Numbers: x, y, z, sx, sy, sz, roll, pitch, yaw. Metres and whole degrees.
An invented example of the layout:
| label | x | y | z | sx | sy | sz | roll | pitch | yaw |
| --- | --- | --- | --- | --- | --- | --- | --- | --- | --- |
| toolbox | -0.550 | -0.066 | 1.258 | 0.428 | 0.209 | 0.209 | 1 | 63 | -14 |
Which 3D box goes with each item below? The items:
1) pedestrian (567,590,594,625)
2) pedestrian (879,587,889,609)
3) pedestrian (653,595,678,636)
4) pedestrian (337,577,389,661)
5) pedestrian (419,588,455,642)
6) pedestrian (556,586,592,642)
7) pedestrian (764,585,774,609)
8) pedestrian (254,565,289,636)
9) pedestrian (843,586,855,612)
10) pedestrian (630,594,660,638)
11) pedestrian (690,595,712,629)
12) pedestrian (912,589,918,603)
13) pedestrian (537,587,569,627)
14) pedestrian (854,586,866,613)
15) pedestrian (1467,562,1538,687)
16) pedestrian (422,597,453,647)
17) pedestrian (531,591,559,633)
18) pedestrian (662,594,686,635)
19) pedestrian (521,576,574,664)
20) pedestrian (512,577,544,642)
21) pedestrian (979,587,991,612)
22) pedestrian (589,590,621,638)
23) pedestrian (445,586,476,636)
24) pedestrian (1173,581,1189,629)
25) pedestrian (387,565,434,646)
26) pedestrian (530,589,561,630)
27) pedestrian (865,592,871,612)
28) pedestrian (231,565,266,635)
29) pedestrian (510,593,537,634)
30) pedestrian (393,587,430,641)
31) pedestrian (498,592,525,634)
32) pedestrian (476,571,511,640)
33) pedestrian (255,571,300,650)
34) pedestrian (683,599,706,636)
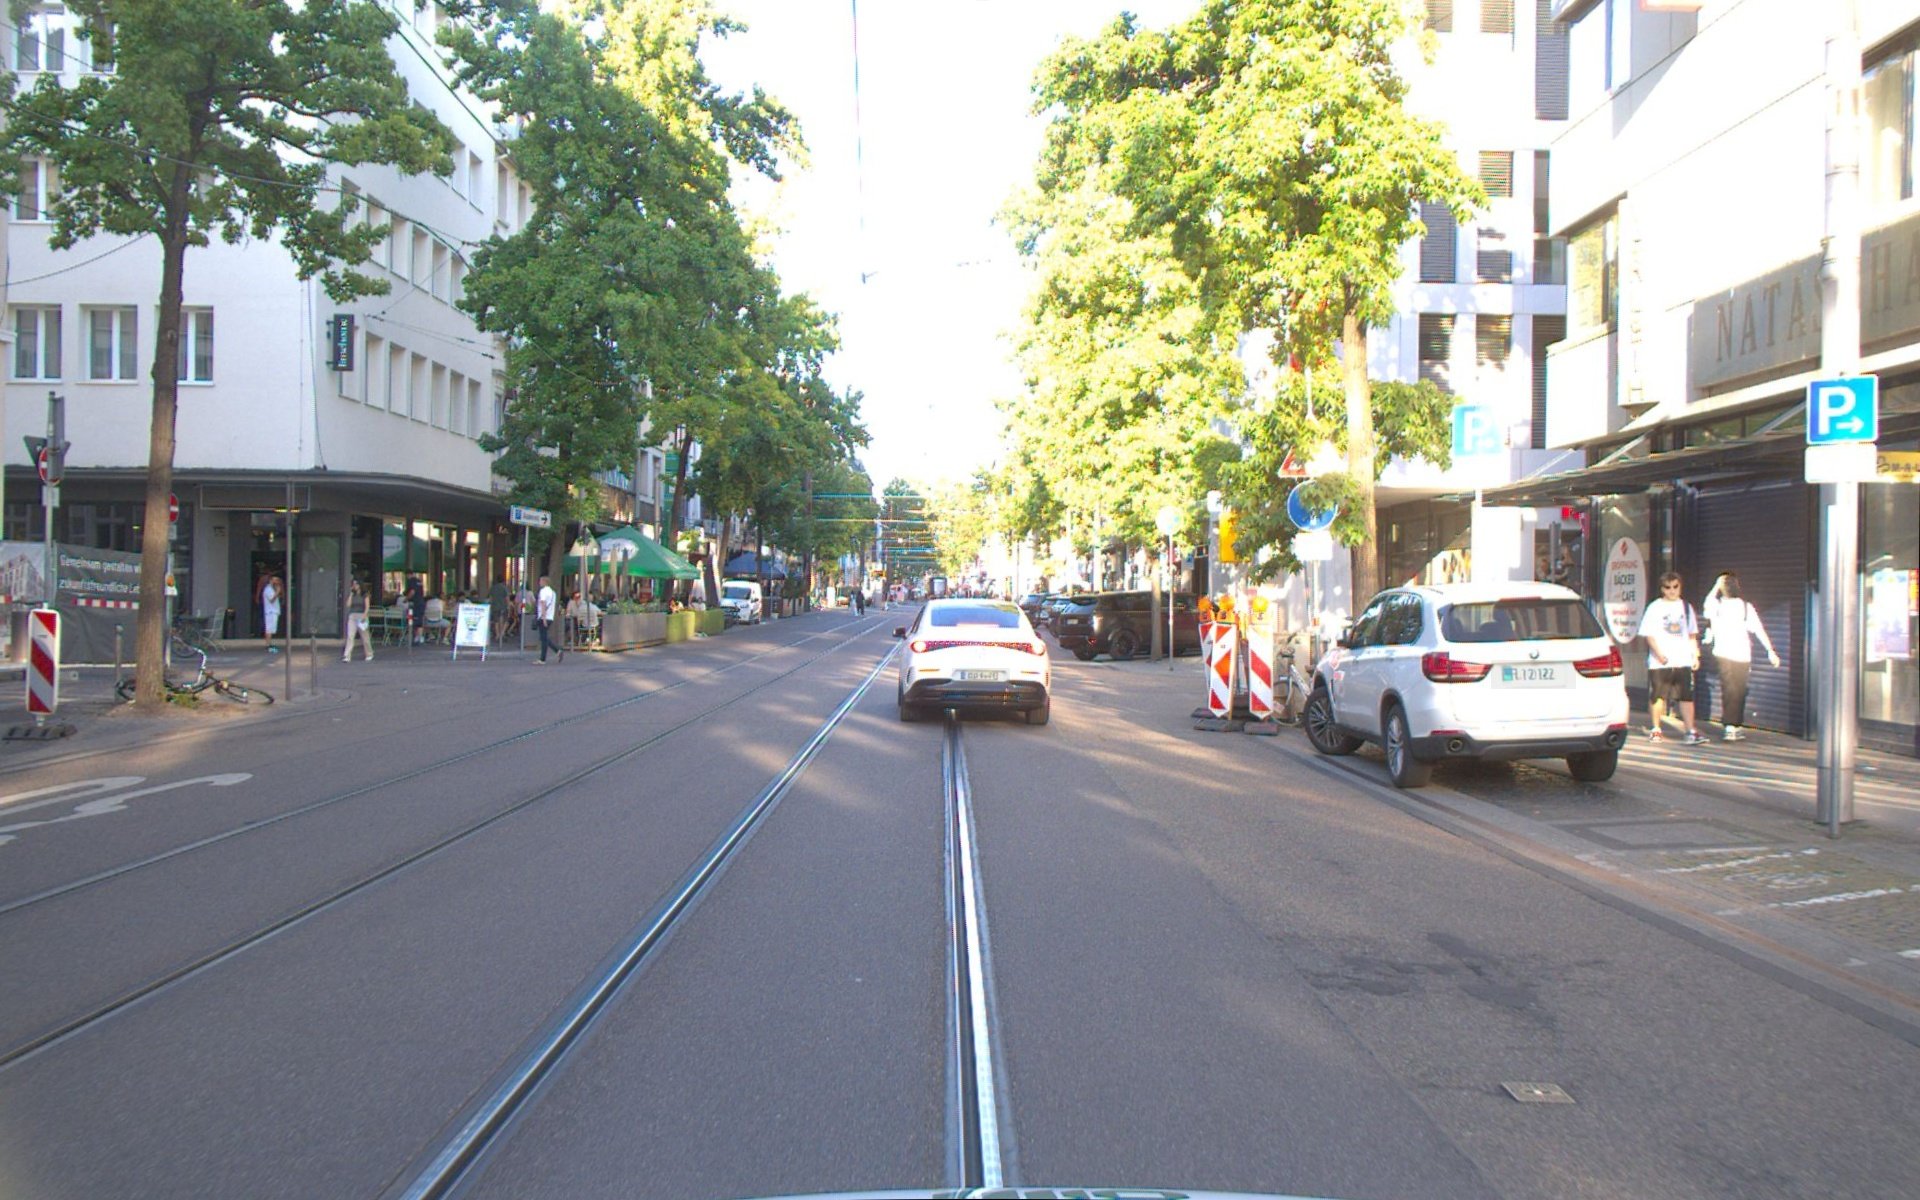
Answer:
| label | x | y | z | sx | sy | sz | roll | pitch | yaw |
| --- | --- | --- | --- | --- | --- | --- | --- | --- | --- |
| pedestrian | -13.356 | 0.247 | 58.208 | 0.686 | 1.188 | 0.788 | 3 | 0 | -1 |
| pedestrian | -6.250 | -0.141 | 136.528 | 0.771 | 1.832 | 0.844 | 1 | 0 | 0 |
| pedestrian | -9.460 | 0.490 | 53.151 | 0.606 | 1.266 | 0.697 | 3 | 0 | -1 |
| pedestrian | -12.076 | 0.372 | 33.475 | 0.692 | 1.685 | 0.967 | 0 | 1 | 1 |
| pedestrian | -12.943 | 0.372 | 40.923 | 0.614 | 1.304 | 0.727 | 2 | 0 | 0 |
| pedestrian | -9.846 | 0.352 | 42.256 | 0.675 | 1.410 | 0.807 | 2 | 0 | 0 |
| pedestrian | -12.865 | -0.212 | 111.331 | 0.585 | 1.559 | 0.671 | 2 | 0 | 0 |
| pedestrian | -16.012 | 0.004 | 38.470 | 0.396 | 1.632 | 0.619 | 1 | 0 | 33 |
| pedestrian | -6.628 | -0.064 | 98.914 | 0.609 | 1.535 | 0.833 | 3 | 0 | 0 |
| pedestrian | -9.517 | 0.484 | 49.998 | 0.693 | 1.281 | 0.772 | 2 | 0 | 2 |
| pedestrian | -9.574 | 0.439 | 61.092 | 0.643 | 1.214 | 0.798 | 3 | 0 | -1 |
| pedestrian | -6.019 | -0.576 | 222.386 | 0.784 | 1.813 | 0.848 | 2 | 0 | -2 |
| pedestrian | -13.431 | 0.238 | 54.623 | 0.761 | 1.258 | 0.945 | 3 | 0 | -1 |
| pedestrian | -6.031 | -0.037 | 99.860 | 0.609 | 1.577 | 0.852 | 3 | 0 | 0 |
| pedestrian | 8.603 | 0.379 | 26.255 | 0.816 | 1.930 | 0.918 | -1 | 0 | 2 |
| pedestrian | -13.267 | 0.554 | 42.001 | 0.541 | 1.257 | 0.687 | 2 | 0 | 0 |
| pedestrian | -12.824 | 0.352 | 51.122 | 0.656 | 1.264 | 0.798 | 2 | 0 | -1 |
| pedestrian | -9.328 | 0.473 | 54.008 | 0.606 | 1.266 | 0.697 | 3 | 0 | -1 |
| pedestrian | -8.444 | 0.399 | 33.895 | 0.778 | 1.771 | 0.867 | 1 | 1 | 8 |
| pedestrian | -11.479 | 0.249 | 43.992 | 0.606 | 1.699 | 0.697 | 2 | 0 | -1 |
| pedestrian | 1.806 | -0.029 | 121.596 | 0.824 | 1.832 | 0.790 | 2 | 0 | 0 |
| pedestrian | -10.276 | 0.403 | 47.897 | 0.675 | 1.334 | 0.807 | 2 | 0 | 0 |
| pedestrian | -12.707 | 0.278 | 42.096 | 0.541 | 1.257 | 0.687 | 2 | 0 | 0 |
| pedestrian | 8.277 | 0.175 | 61.938 | 0.512 | 1.781 | 0.559 | -2 | 0 | 1 |
| pedestrian | -12.921 | 0.132 | 38.899 | 0.670 | 1.847 | 0.764 | 2 | 0 | 15 |
| pedestrian | -13.413 | 0.307 | 53.520 | 0.721 | 1.253 | 0.788 | 3 | 0 | -1 |
| pedestrian | -9.145 | 0.193 | 164.058 | 0.527 | 1.962 | 0.573 | 0 | 0 | 3 |
| pedestrian | -16.806 | -0.006 | 39.078 | 0.396 | 1.632 | 0.619 | 1 | 0 | 33 |
| pedestrian | -12.971 | 0.388 | 49.140 | 0.589 | 1.194 | 0.687 | 2 | 0 | 0 |
| pedestrian | -13.591 | 0.346 | 40.990 | 0.631 | 1.291 | 0.738 | 2 | 0 | 0 |
| pedestrian | -13.035 | 0.383 | 48.073 | 0.541 | 1.182 | 0.687 | 2 | 0 | 0 |
| pedestrian | -12.274 | 0.146 | 43.527 | 0.664 | 1.787 | 0.697 | 2 | 0 | 1 |
| pedestrian | -14.526 | 0.220 | 35.228 | 0.783 | 1.642 | 0.862 | 1 | 2 | -18 |
| pedestrian | -9.651 | 0.635 | 60.221 | 0.643 | 1.266 | 0.872 | 3 | 0 | -1 |
